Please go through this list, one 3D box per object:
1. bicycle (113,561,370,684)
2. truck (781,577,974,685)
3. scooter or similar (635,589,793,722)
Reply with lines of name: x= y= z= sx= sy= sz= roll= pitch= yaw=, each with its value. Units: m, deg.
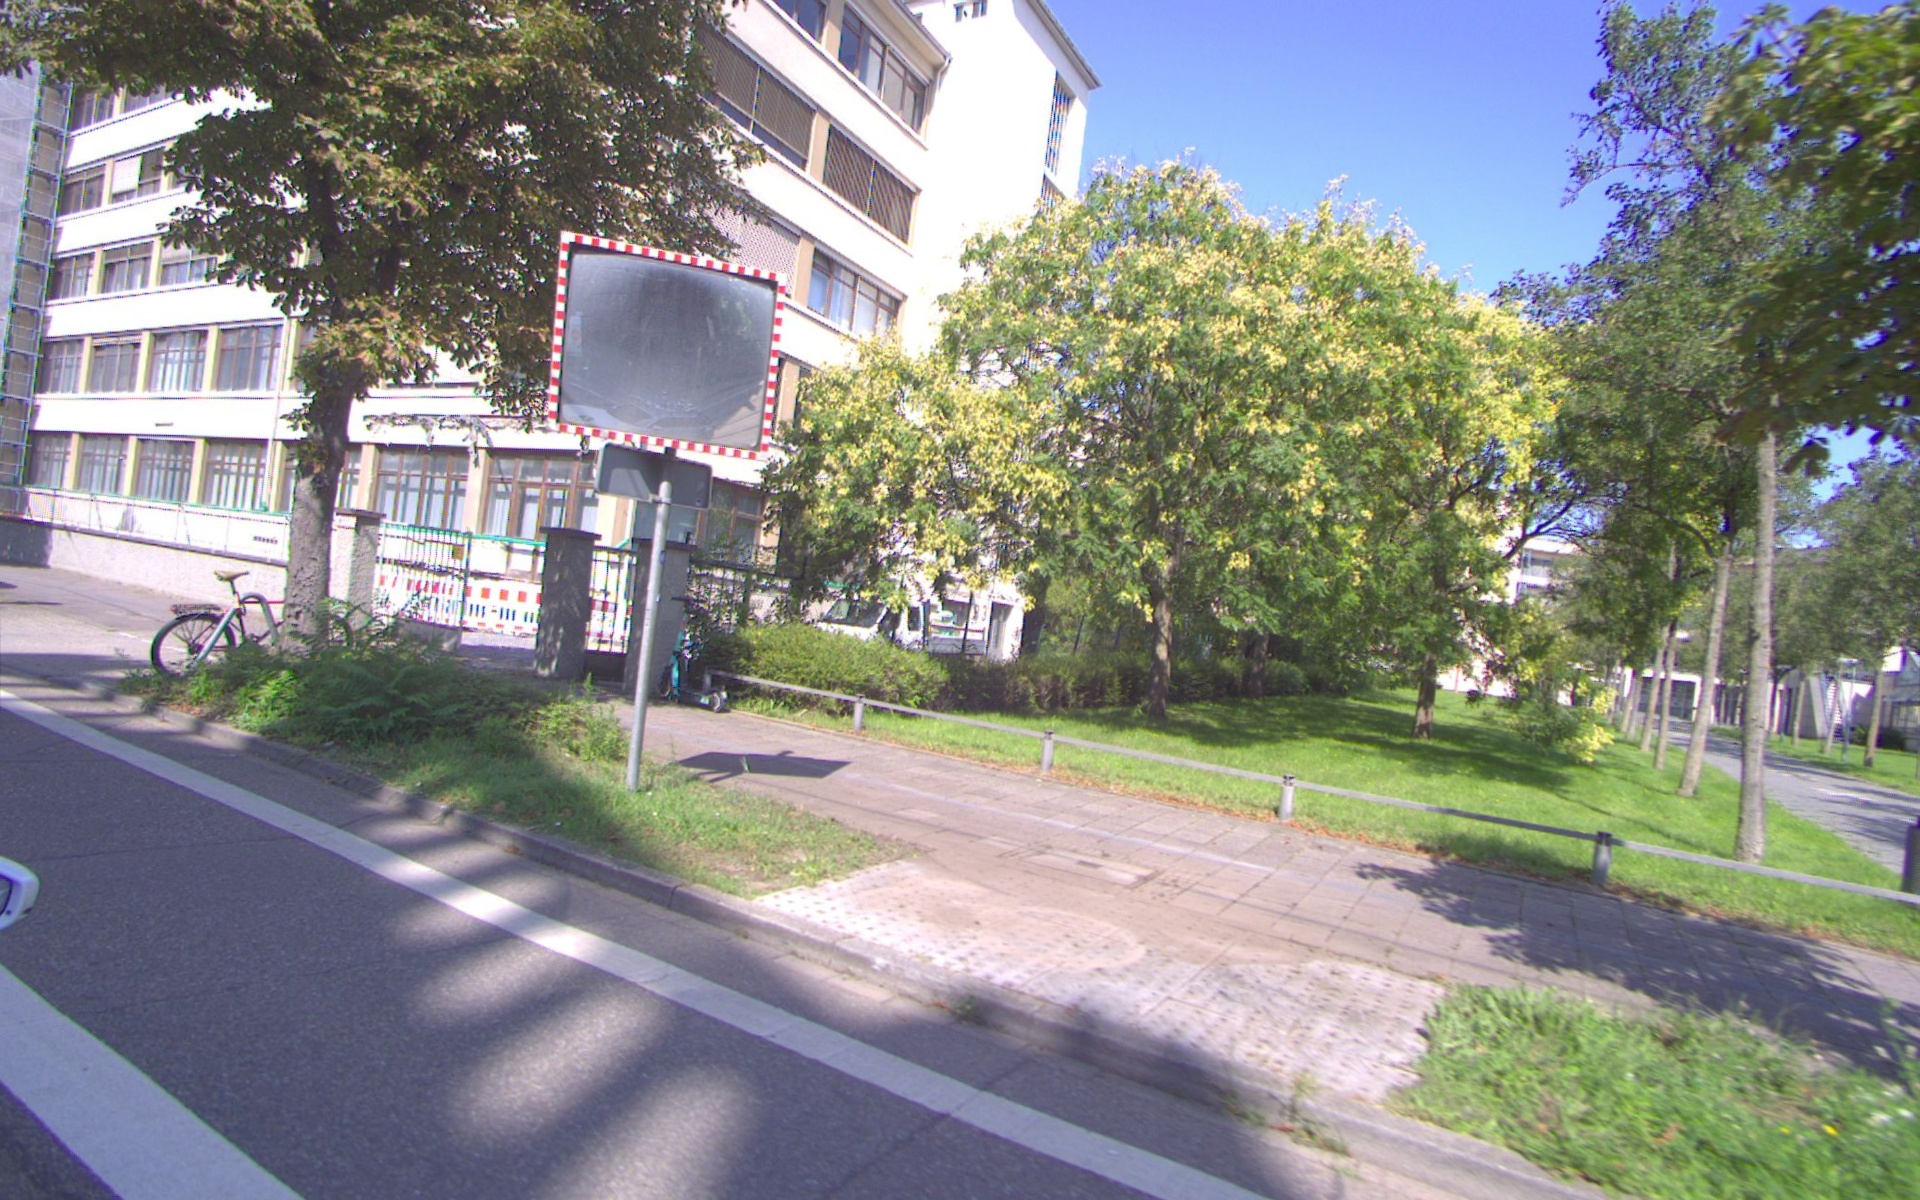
bicycle: x=-6.656 y=0.253 z=9.431 sx=0.548 sy=0.969 sz=1.816 roll=7 pitch=-2 yaw=30
truck: x=-2.120 y=0.948 z=27.802 sx=2.261 sy=2.353 sz=5.517 roll=7 pitch=-2 yaw=32
scooter or similar: x=-2.826 y=0.617 z=11.475 sx=1.788 sy=1.274 sz=0.557 roll=7 pitch=-1 yaw=33
